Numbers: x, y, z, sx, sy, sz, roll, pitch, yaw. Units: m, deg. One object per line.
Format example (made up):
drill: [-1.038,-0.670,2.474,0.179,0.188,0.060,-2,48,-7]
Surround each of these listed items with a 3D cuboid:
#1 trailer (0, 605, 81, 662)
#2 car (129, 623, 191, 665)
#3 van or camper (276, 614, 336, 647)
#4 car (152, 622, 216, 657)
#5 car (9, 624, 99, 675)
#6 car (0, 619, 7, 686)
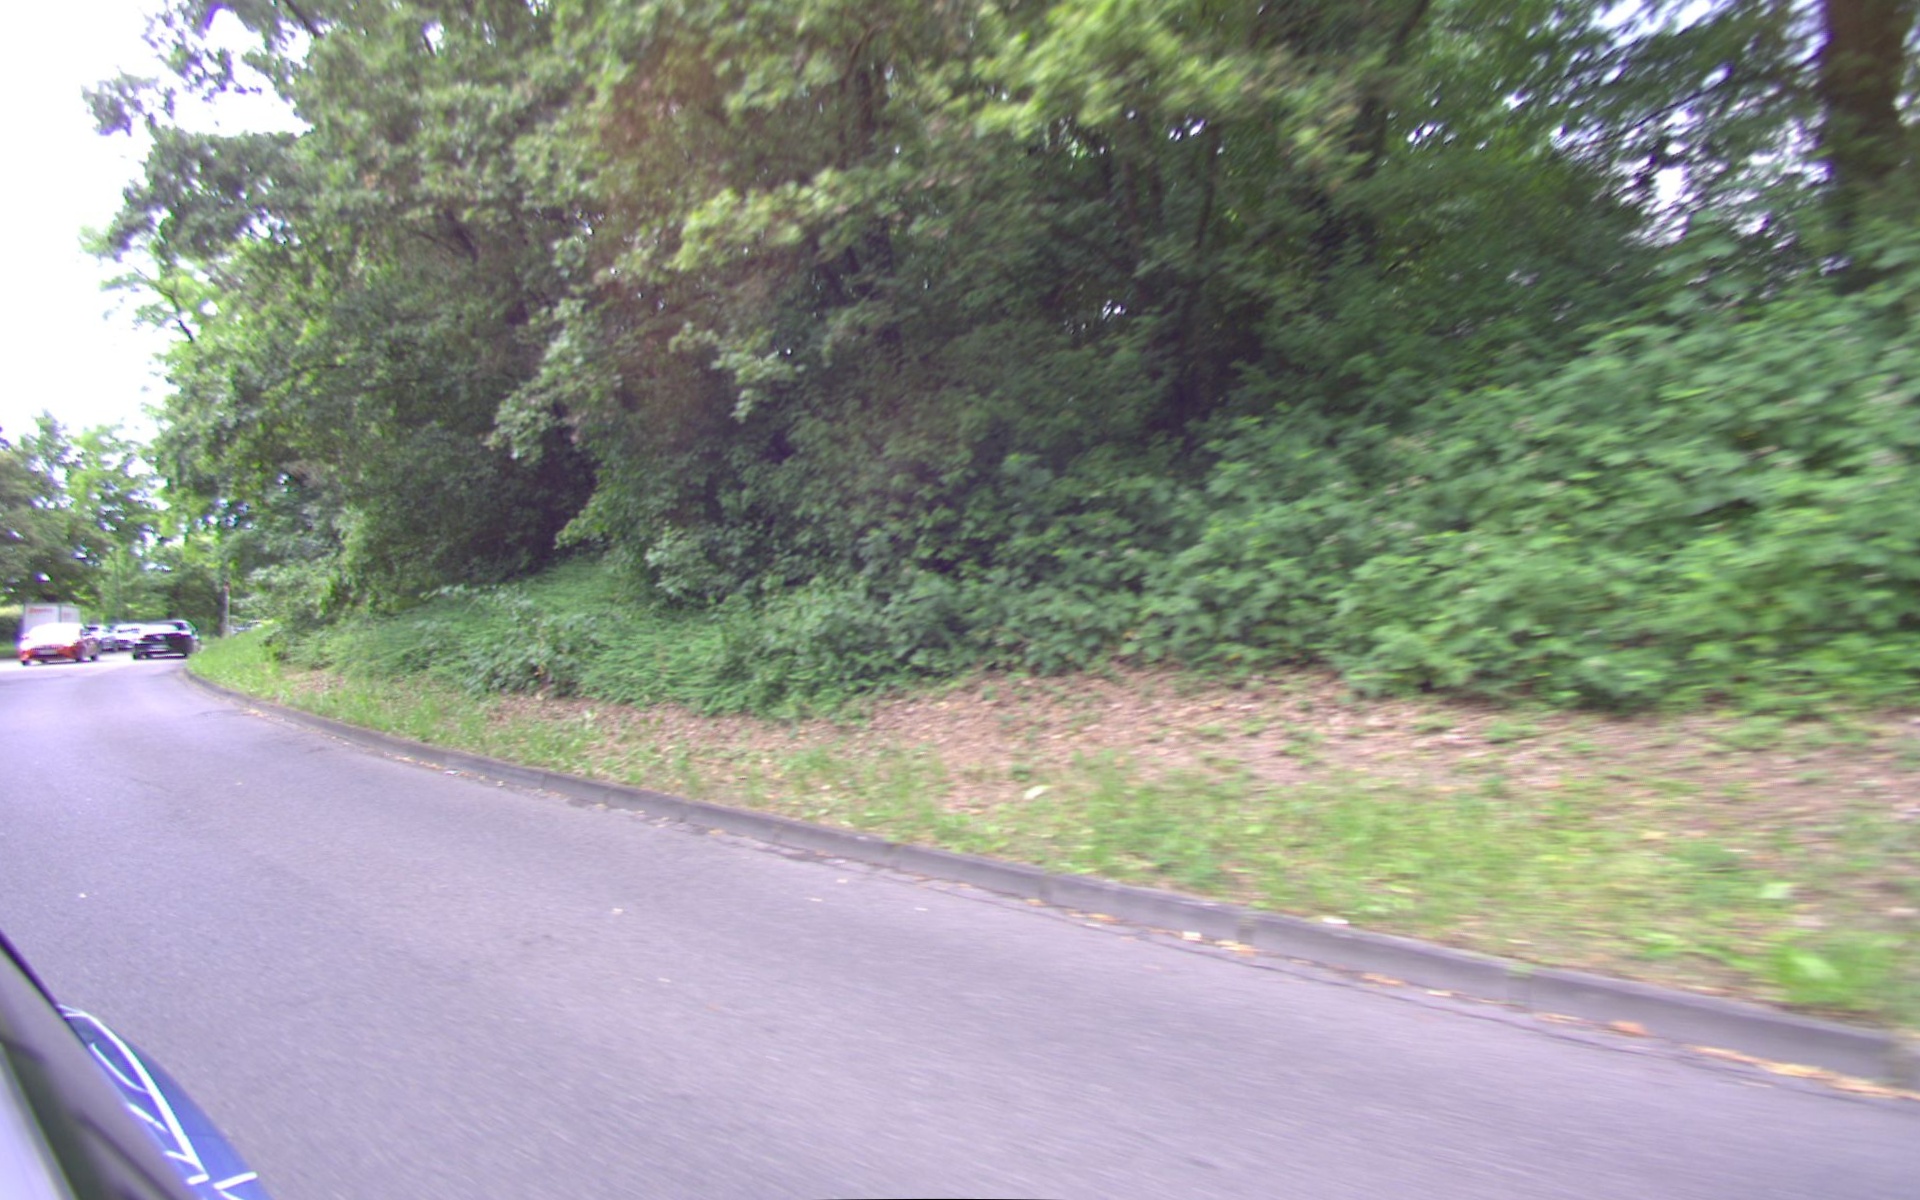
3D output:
trailer: [-41.809,1.496,46.104,1.736,2.445,3.899,-1,-1,-27]
car: [-31.607,1.693,40.070,1.768,1.399,4.501,-4,2,-37]
van or camper: [-55.842,2.561,86.548,2.133,2.555,6.045,-3,0,-11]
car: [-41.849,2.090,54.648,1.891,1.694,4.013,-1,1,-25]
car: [-33.020,1.769,37.000,1.837,1.459,4.188,2,2,-33]
car: [-23.520,1.286,22.926,1.967,1.640,4.638,-3,0,-33]
